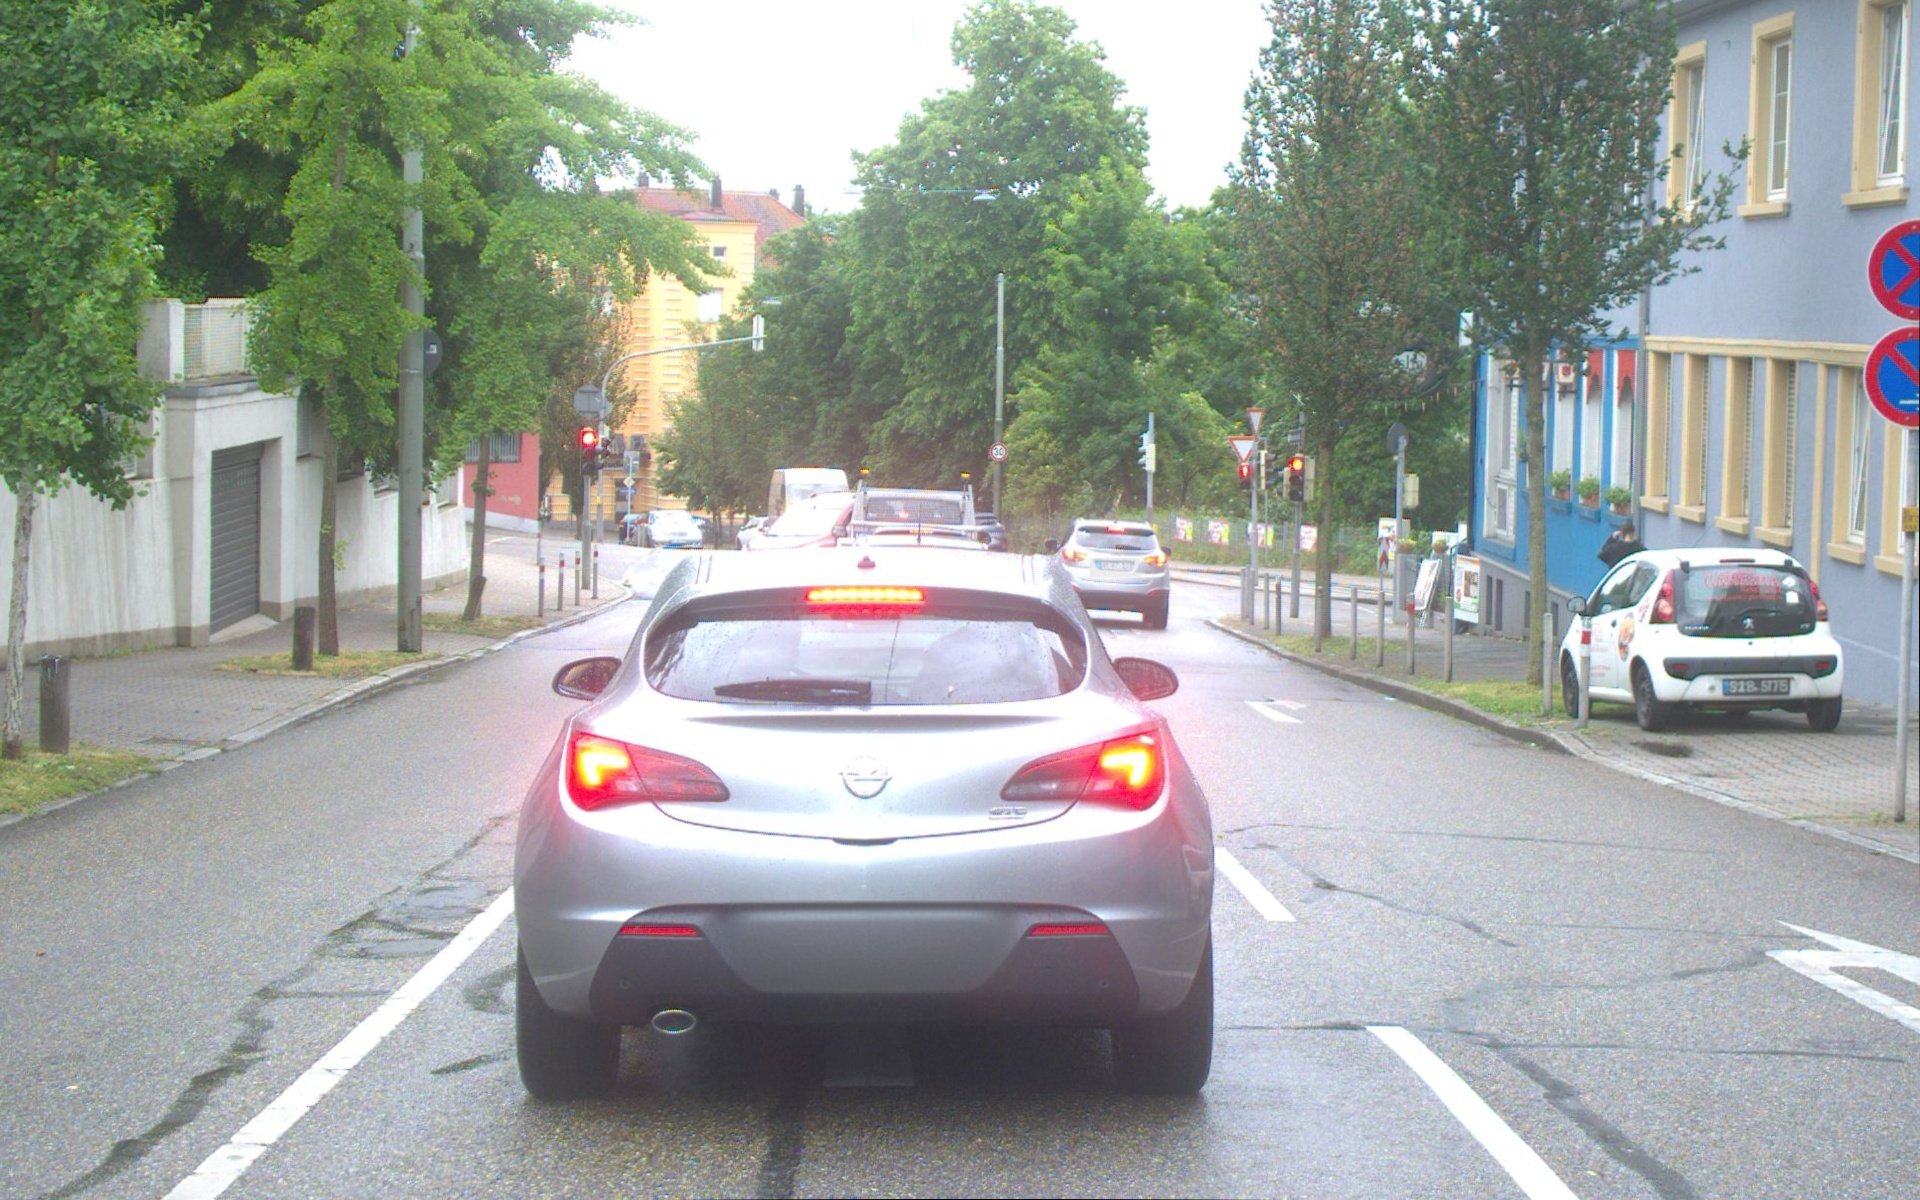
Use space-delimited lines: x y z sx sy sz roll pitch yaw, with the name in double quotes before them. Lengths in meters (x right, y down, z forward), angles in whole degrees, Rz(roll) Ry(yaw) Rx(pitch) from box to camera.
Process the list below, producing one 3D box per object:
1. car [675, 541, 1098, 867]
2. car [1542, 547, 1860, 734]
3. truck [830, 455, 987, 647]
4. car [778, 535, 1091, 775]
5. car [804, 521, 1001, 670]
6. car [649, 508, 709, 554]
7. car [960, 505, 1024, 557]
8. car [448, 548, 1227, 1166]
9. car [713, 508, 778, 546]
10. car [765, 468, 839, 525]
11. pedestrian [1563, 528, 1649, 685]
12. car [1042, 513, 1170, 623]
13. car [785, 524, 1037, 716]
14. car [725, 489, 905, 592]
"car" -0.415 0.462 18.554 1.962 1.443 4.306 2 1 -2
"car" 6.142 0.290 28.914 1.722 1.443 3.880 0 1 -2
"truck" -0.746 -0.703 47.304 1.962 2.420 4.936 2 1 -2
"car" -0.228 0.314 24.275 1.962 1.443 4.306 2 1 -2
"car" -0.656 -0.095 37.312 1.962 1.443 4.306 2 1 -2
"car" -8.982 -2.216 110.134 1.722 1.455 3.880 0 1 -2
"car" 0.996 -2.191 109.107 1.722 1.632 3.880 0 1 -4
"car" -0.372 0.588 10.160 1.837 1.429 3.880 1 1 -2
"car" -8.723 -2.973 139.542 1.722 1.538 3.881 0 1 -18
"car" -4.634 -3.016 100.434 1.722 1.632 3.881 0 1 -9
"pedestrian" 7.321 0.067 38.973 0.783 1.723 0.651 2 1 0
"car" 2.308 -0.537 55.340 1.722 1.708 3.880 0 1 -2
"car" -0.459 0.118 29.653 1.962 1.443 4.306 2 1 -2
"car" -2.635 -1.098 63.700 1.748 1.822 4.454 0 1 20
